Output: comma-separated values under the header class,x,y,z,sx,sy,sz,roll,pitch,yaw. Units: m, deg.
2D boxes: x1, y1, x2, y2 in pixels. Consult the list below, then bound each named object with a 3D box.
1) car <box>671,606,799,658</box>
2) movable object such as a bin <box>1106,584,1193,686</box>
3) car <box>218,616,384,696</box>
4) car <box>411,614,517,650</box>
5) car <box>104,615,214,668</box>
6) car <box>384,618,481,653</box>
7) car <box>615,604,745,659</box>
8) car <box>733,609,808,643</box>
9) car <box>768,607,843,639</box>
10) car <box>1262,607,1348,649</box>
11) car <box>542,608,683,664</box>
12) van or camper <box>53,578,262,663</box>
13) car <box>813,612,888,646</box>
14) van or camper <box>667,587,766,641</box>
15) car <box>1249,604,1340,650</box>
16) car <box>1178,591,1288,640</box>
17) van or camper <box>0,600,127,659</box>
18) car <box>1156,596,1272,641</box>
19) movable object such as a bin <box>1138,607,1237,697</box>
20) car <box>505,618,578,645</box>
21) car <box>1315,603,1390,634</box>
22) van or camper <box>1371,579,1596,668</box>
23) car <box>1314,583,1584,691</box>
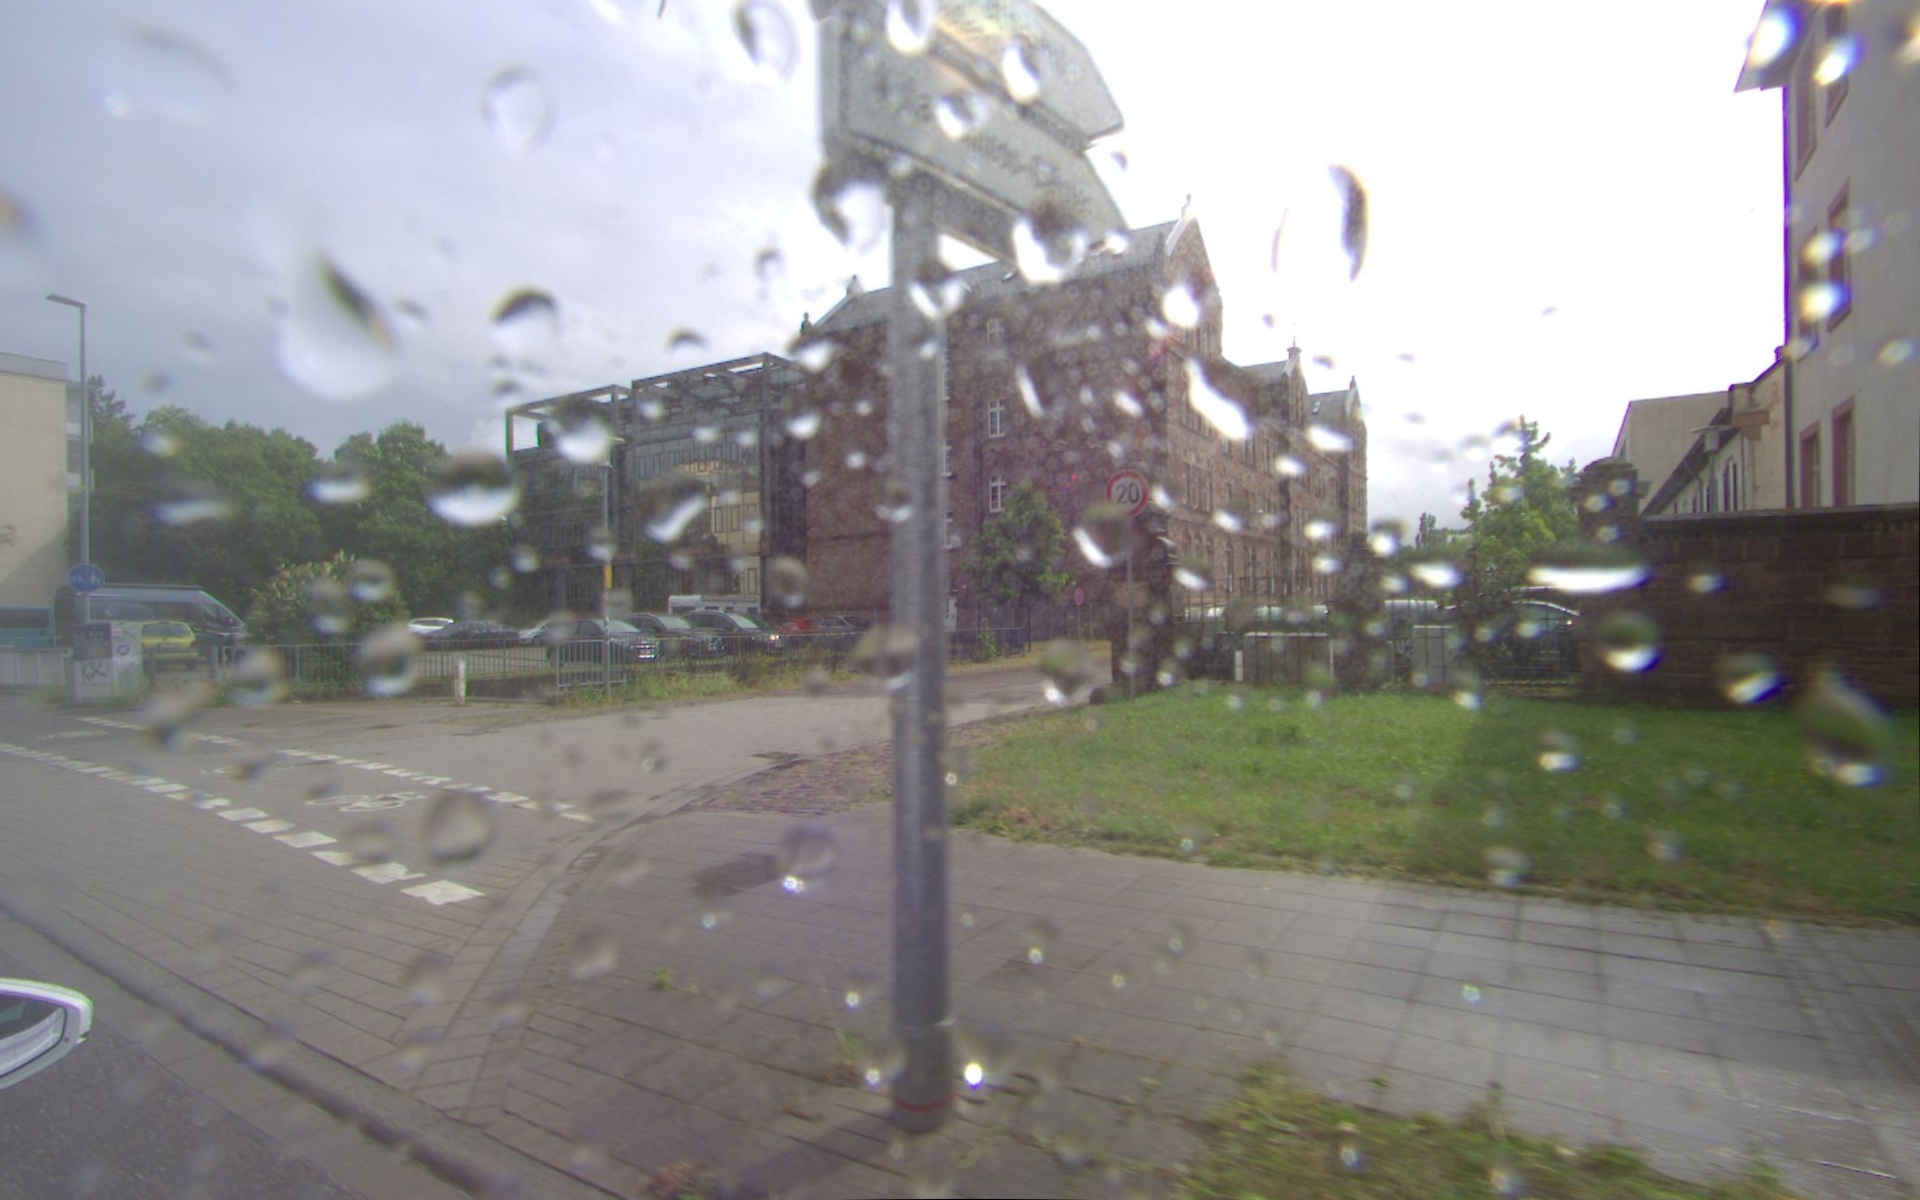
class,x,y,z,sx,sy,sz,roll,pitch,yaw
car,-7.882,1.099,35.034,4.361,1.701,1.849,-1,0,33
movable object such as a bin,2.885,0.513,15.223,1.081,1.477,0.797,-1,1,32
car,-16.219,1.327,24.596,4.177,1.773,1.800,-1,0,32
car,-22.189,1.391,44.898,1.649,1.484,3.966,-1,0,32
car,-23.932,1.208,29.893,3.370,1.468,1.606,-1,0,34
car,-24.300,1.625,46.233,1.617,1.506,3.657,-1,0,34
car,-9.293,1.033,33.108,4.366,1.701,1.847,-1,0,37
car,-9.506,1.277,50.347,1.649,1.597,3.659,-1,0,32
car,-7.512,1.153,48.965,1.649,1.505,3.660,-1,-2,32
car,17.286,1.444,50.187,3.754,1.995,1.751,-3,-3,33
car,-10.510,1.066,30.167,4.365,1.547,1.823,-1,0,36
van or camper,-26.442,0.708,33.182,2.144,2.587,4.989,-2,-2,32
car,-5.196,1.364,47.901,1.649,1.544,3.659,-1,0,32
van or camper,-12.280,0.763,50.886,2.225,2.517,4.782,-2,-3,30
car,15.930,1.331,47.717,3.754,2.032,1.751,-3,-3,33
car,10.585,0.647,38.919,3.754,1.712,1.751,-3,-3,33
van or camper,-35.248,1.118,38.344,2.290,2.159,4.747,-1,-1,34
car,9.261,0.721,36.589,3.754,1.471,1.751,-3,-4,33
movable object such as a bin,3.951,0.876,17.375,1.370,1.477,1.103,-1,1,32
car,-24.500,1.815,58.750,1.649,1.506,3.659,-1,-1,32
car,22.723,1.097,57.955,3.754,1.670,1.751,-3,-3,33
van or camper,13.686,0.601,26.345,5.111,2.145,1.785,-1,1,32
car,8.729,0.649,17.985,4.184,1.744,1.707,-1,-1,33
